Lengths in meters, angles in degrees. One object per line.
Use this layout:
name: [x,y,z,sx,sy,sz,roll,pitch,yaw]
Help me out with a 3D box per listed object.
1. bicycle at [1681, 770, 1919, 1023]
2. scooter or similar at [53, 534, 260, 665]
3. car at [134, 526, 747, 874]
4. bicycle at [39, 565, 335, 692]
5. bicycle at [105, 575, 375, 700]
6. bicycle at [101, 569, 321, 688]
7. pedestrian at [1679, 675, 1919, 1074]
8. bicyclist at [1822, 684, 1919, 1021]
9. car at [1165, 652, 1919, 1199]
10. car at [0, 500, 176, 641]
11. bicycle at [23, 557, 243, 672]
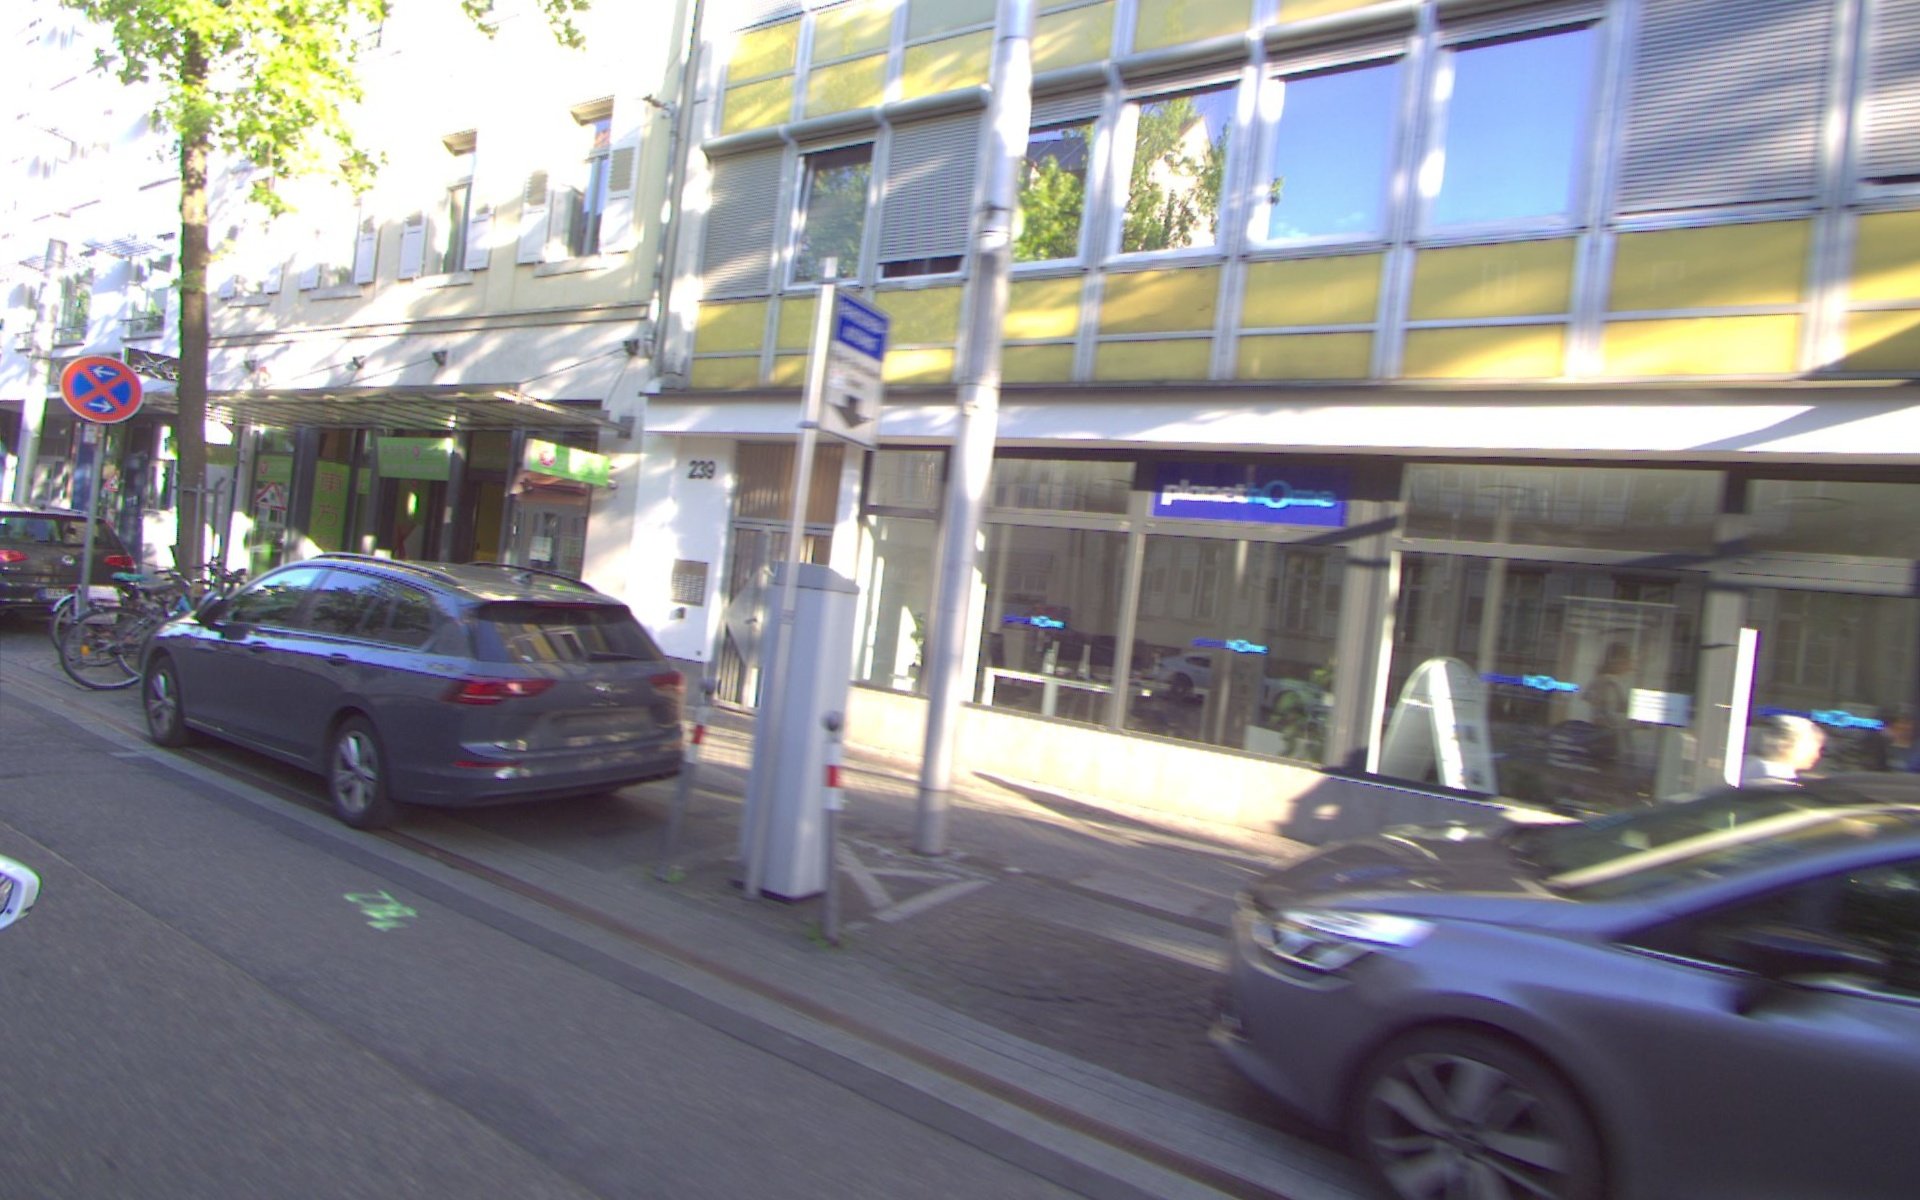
bicycle: [5.136,1.656,5.455,1.830,1.087,0.648,7,0,30]
scooter or similar: [-8.607,0.023,10.832,0.664,1.211,1.539,7,-1,36]
car: [-3.600,0.450,6.755,4.040,1.472,1.871,7,1,34]
bicycle: [-6.835,0.299,9.032,0.278,0.976,2.038,7,-1,36]
bicycle: [-6.401,0.380,9.064,0.327,0.976,1.897,7,-1,36]
bicycle: [-7.071,0.296,9.565,0.489,0.976,1.538,7,-1,38]
pedestrian: [4.101,1.250,4.932,0.688,1.666,0.798,7,0,30]
bicyclist: [5.203,1.338,5.411,0.589,1.705,0.639,7,1,30]
car: [2.861,1.178,3.088,3.930,1.506,1.816,6,3,27]
car: [-11.749,-0.493,12.231,3.929,1.453,1.842,7,-1,25]
bicycle: [-8.116,0.170,9.939,0.488,0.976,1.539,7,-1,35]
